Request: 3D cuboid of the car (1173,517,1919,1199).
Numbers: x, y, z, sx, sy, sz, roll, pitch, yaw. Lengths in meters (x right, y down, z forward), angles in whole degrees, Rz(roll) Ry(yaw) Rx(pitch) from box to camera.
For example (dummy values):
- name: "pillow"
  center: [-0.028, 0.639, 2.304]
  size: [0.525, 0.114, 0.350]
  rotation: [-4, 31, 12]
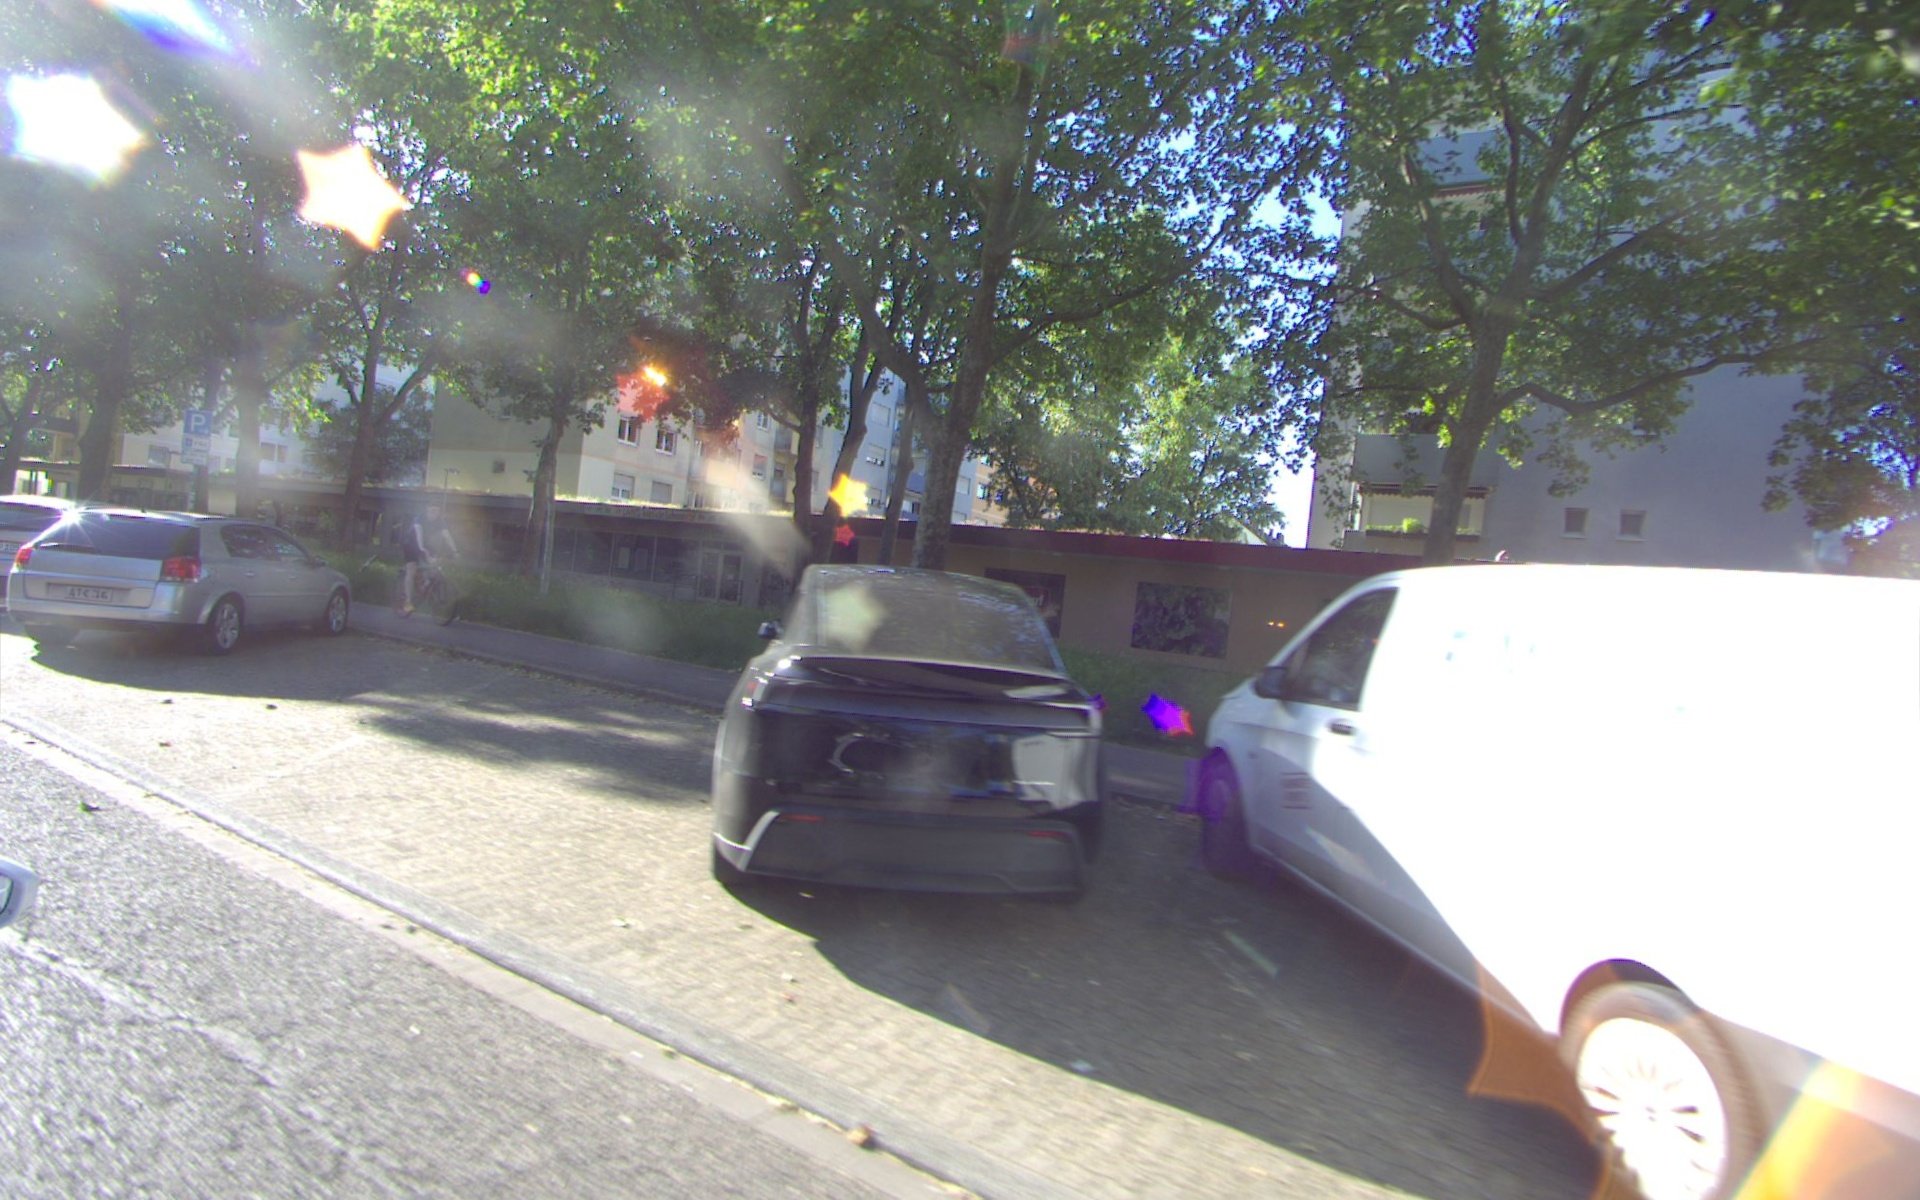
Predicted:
- name: "car"
  center: [2.631, 0.807, 4.191]
  size: [1.799, 1.876, 4.663]
  rotation: [6, 1, -7]

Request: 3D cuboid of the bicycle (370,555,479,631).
- name: "bicycle"
  center: [-8.260, -0.113, 15.491]
  size: [1.810, 0.979, 0.622]
  rotation: [6, 2, 32]

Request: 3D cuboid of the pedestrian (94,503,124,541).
- name: "pedestrian"
  center: [-47.619, -4.371, 56.296]
  size: [0.856, 1.938, 0.874]
  rotation: [7, 1, 24]

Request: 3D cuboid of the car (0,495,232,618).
- name: "car"
  center: [-11.926, -0.613, 13.766]
  size: [1.561, 1.390, 3.929]
  rotation: [6, 1, -11]

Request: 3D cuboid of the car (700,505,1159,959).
- name: "car"
  center: [-0.425, 0.526, 6.330]
  size: [1.730, 1.727, 4.494]
  rotation: [6, 1, -9]

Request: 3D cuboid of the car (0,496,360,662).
- name: "car"
  center: [-8.761, -0.251, 11.640]
  size: [1.691, 1.430, 4.175]
  rotation: [6, 1, -11]

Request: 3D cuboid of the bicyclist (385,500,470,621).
- name: "bicyclist"
  center: [-8.197, -0.604, 15.482]
  size: [1.007, 1.762, 0.623]
  rotation: [4, 0, 32]
